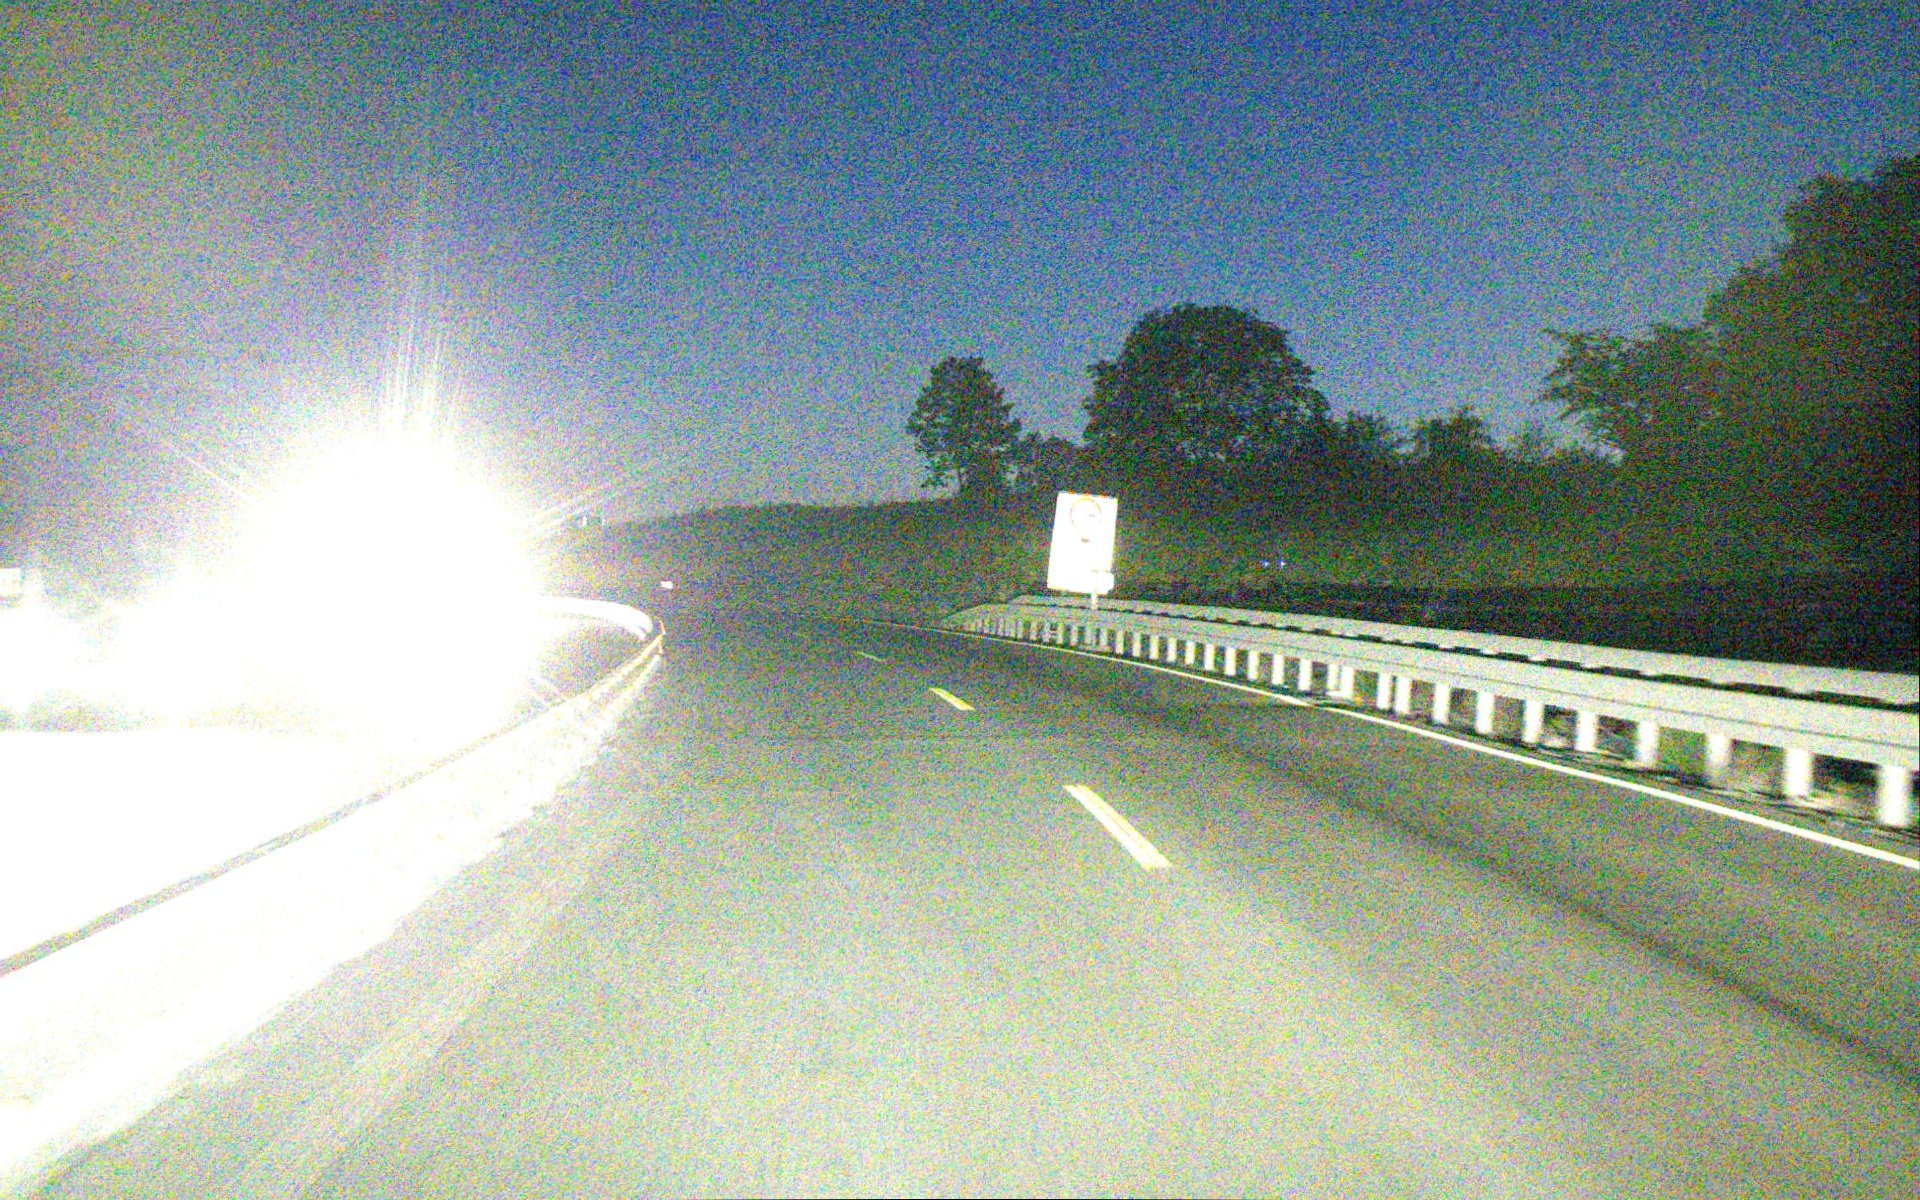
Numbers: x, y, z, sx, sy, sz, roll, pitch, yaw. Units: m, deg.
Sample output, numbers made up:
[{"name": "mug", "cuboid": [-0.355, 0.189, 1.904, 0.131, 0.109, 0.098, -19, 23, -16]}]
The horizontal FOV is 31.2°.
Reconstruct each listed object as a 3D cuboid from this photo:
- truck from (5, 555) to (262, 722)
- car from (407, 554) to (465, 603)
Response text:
[{"name": "truck", "cuboid": [-7.755, 0.347, 32.594, 1.682, 1.465, 4.154, 1, 0, -4]}, {"name": "car", "cuboid": [-16.337, -0.651, 107.303, 1.712, 1.439, 4.488, -1, 0, -8]}]
